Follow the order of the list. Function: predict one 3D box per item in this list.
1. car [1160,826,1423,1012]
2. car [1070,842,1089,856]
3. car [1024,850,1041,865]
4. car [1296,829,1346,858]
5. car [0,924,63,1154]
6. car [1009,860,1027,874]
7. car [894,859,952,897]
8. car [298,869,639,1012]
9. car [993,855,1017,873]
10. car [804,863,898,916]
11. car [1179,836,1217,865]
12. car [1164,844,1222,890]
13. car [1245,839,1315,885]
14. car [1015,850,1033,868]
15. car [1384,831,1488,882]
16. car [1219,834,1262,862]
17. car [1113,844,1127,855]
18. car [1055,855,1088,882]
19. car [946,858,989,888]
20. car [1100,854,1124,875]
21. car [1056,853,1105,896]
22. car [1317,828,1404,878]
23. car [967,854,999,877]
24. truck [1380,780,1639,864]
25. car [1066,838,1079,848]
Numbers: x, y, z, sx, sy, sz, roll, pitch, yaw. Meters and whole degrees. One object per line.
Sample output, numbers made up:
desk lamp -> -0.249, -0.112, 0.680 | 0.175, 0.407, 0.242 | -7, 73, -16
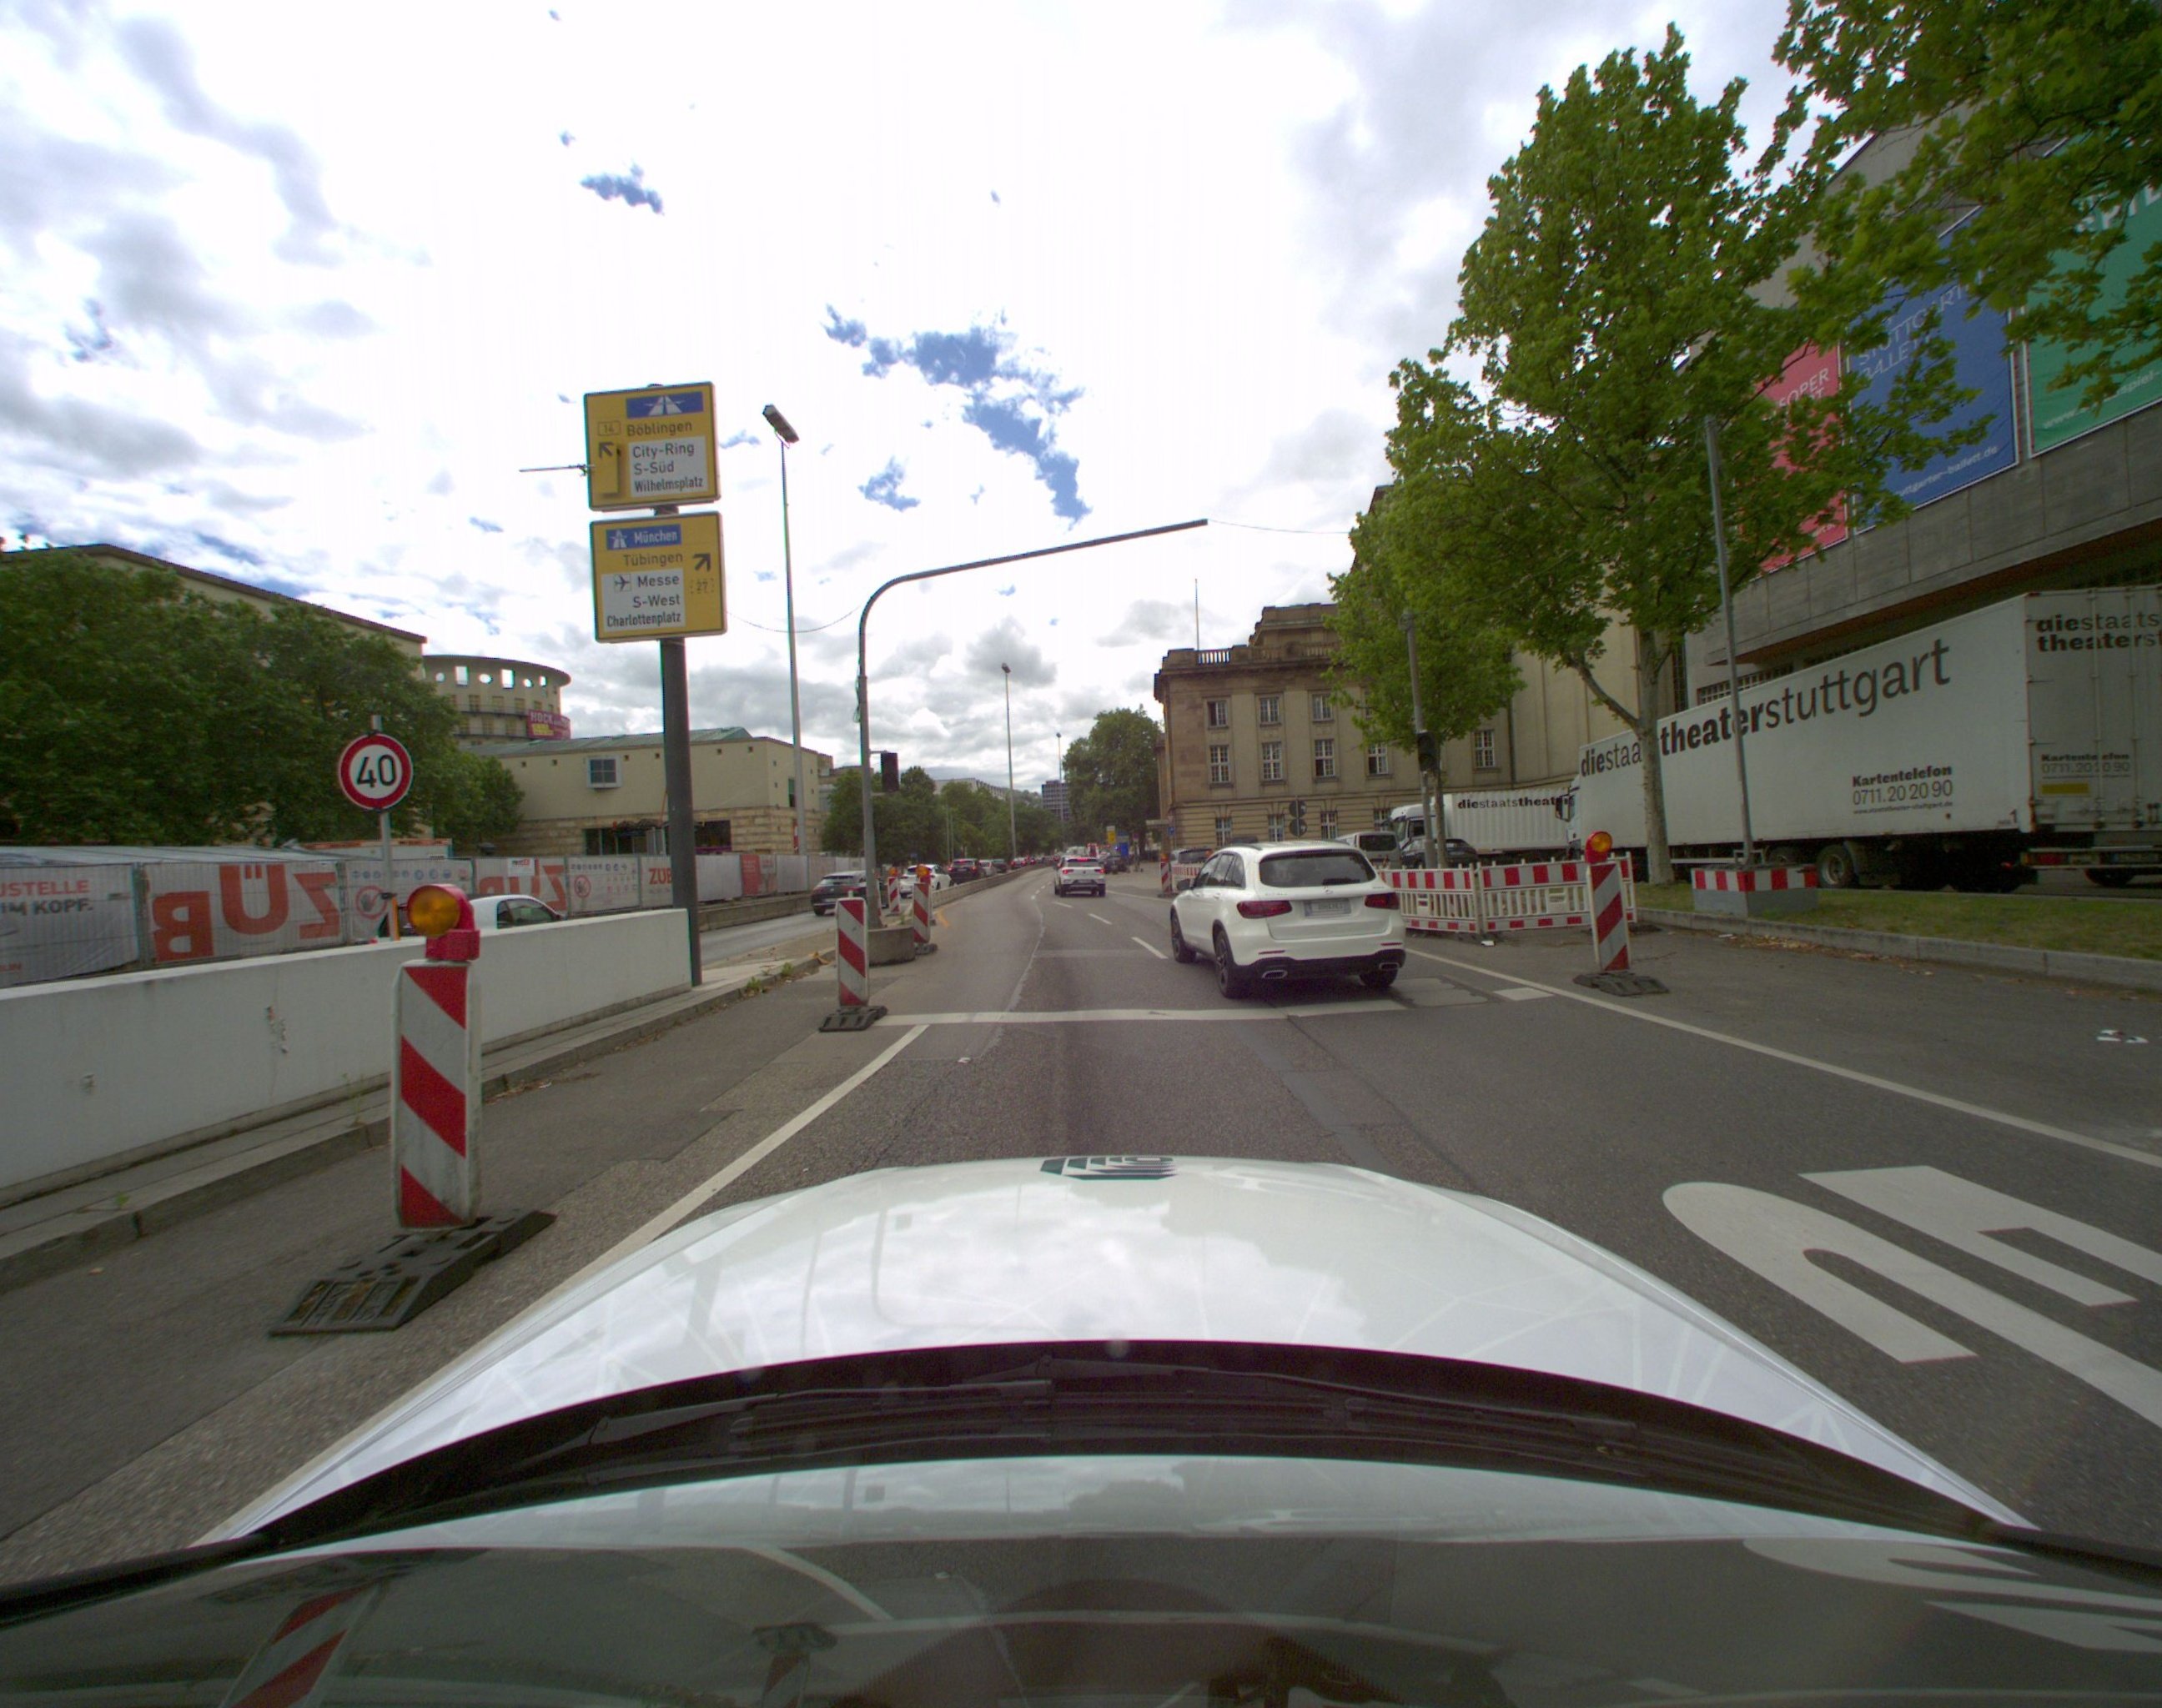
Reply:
car -> 2.268, 0.622, 10.171 | 1.807, 1.642, 4.547 | -5, 0, -3
car -> -0.292, -0.899, 145.025 | 2.569, 2.374, 5.537 | -4, 0, 7
car -> -6.894, 0.480, 116.739 | 1.986, 2.013, 4.001 | -3, 2, 1
car -> 14.452, -0.607, 49.251 | 1.849, 1.568, 4.334 | -3, -1, 3
car -> -8.938, 1.414, 4.282 | 1.986, 1.641, 4.002 | -3, 0, 2
car -> -7.529, 1.546, 97.509 | 1.745, 1.568, 4.330 | -3, 0, 0
car -> -7.153, 1.051, 37.143 | 1.743, 1.567, 3.380 | -2, 0, 3
car -> -8.925, 1.143, 12.420 | 1.986, 1.641, 4.002 | -3, 0, 2
car -> -7.010, 0.921, 75.244 | 1.745, 1.568, 4.330 | -3, 0, 0
car -> -7.776, 1.145, 27.988 | 1.744, 1.568, 4.334 | -3, 0, 2
car -> 7.149, -0.183, 49.986 | 1.849, 1.568, 4.334 | -3, -1, 3
car -> 4.194, 0.485, 31.008 | 1.743, 1.568, 4.334 | -3, -1, 3
car -> 7.482, 0.309, 31.072 | 1.743, 1.568, 4.334 | -3, -1, 3
car -> -7.415, 0.649, 106.240 | 1.987, 2.013, 4.000 | -3, 2, 0
car -> 12.247, 0.109, 28.382 | 1.849, 1.568, 4.334 | -3, -1, 3
car -> 9.561, -0.324, 49.145 | 1.849, 1.568, 4.334 | -3, -1, 3
car -> 9.014, -1.097, 186.905 | 2.569, 2.374, 5.537 | -4, 0, 7
car -> -0.654, 0.869, 50.991 | 1.820, 1.567, 4.474 | 0, 0, -4
car -> -6.689, 1.091, 48.150 | 1.743, 1.567, 3.380 | -6, 0, 3
car -> 2.528, 0.850, 65.646 | 1.816, 1.567, 4.483 | -1, 1, 2
car -> -0.087, 0.772, 32.967 | 1.746, 1.568, 4.327 | -2, 0, -3
car -> 9.840, -0.004, 29.052 | 1.743, 1.568, 4.334 | -3, -1, 3
car -> -7.234, 0.814, 60.584 | 1.745, 1.568, 4.331 | -3, 0, 0
truck -> 18.926, -1.364, 36.430 | 9.988, 3.050, 2.571 | -3, -1, 3
car -> -2.303, -2.999, 216.165 | 2.569, 2.374, 5.537 | -4, 0, 7
